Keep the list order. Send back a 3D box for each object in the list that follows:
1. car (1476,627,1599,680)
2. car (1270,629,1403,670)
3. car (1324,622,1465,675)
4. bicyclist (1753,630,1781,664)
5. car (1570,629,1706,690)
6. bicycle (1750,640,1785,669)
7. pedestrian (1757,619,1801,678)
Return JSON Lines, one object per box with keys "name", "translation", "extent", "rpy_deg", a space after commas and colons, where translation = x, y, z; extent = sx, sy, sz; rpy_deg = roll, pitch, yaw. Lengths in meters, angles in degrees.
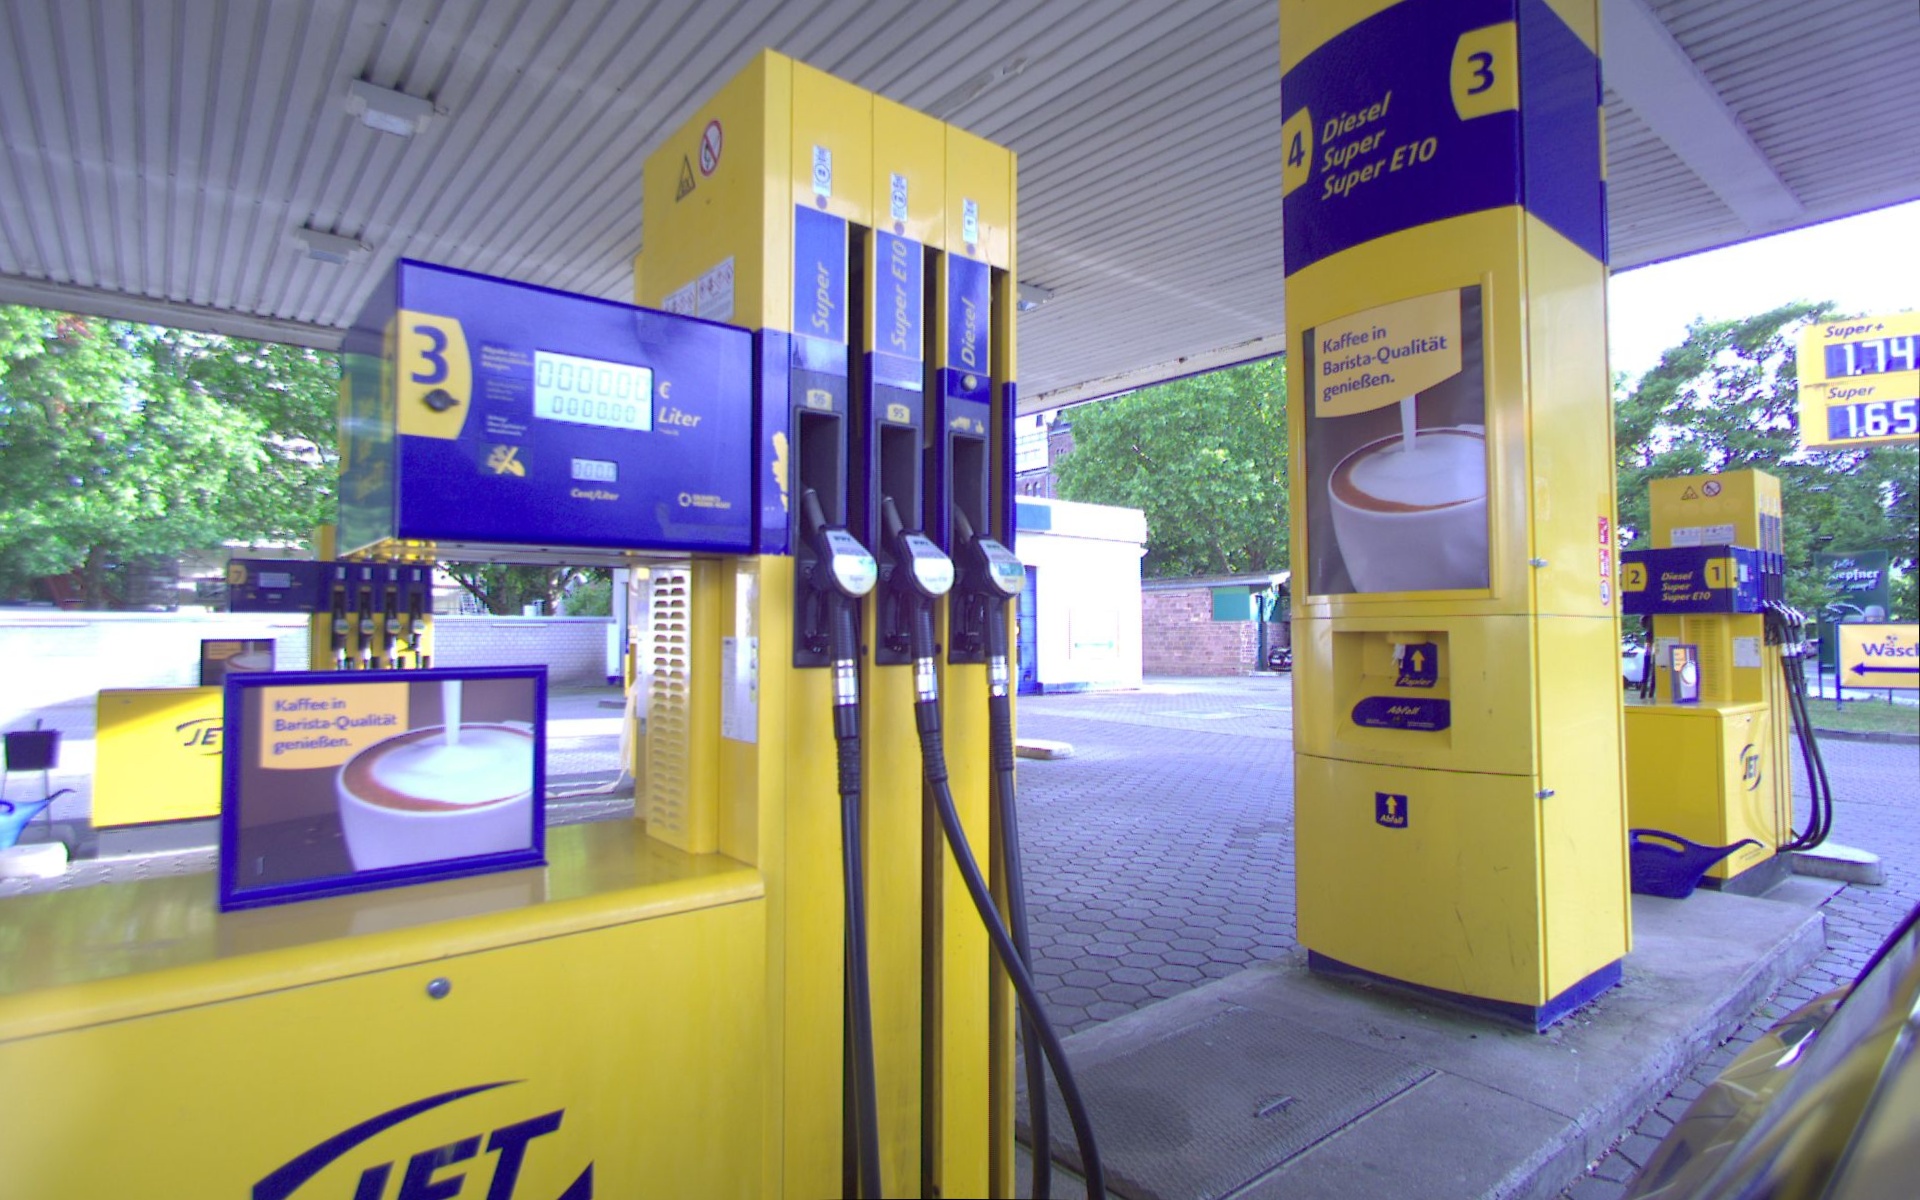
{"name": "car", "translation": [17.567, 1.643, 30.763], "extent": [3.923, 1.529, 1.740], "rpy_deg": [3, -3, -35]}
{"name": "car", "translation": [12.841, 1.700, 34.511], "extent": [4.134, 1.294, 1.751], "rpy_deg": [2, -3, -22]}
{"name": "car", "translation": [13.800, 1.549, 32.162], "extent": [4.134, 1.544, 1.791], "rpy_deg": [2, -3, -24]}
{"name": "bicyclist", "translation": [35.865, 2.092, 44.992], "extent": [0.728, 1.479, 0.908], "rpy_deg": [-3, -3, 26]}
{"name": "car", "translation": [18.232, 1.564, 27.175], "extent": [3.923, 1.529, 1.740], "rpy_deg": [2, -3, -35]}
{"name": "bicycle", "translation": [35.879, 2.419, 45.006], "extent": [0.728, 1.274, 1.921], "rpy_deg": [-3, -3, 26]}
{"name": "pedestrian", "translation": [28.971, 1.701, 35.819], "extent": [0.923, 2.040, 1.205], "rpy_deg": [0, -2, 25]}
